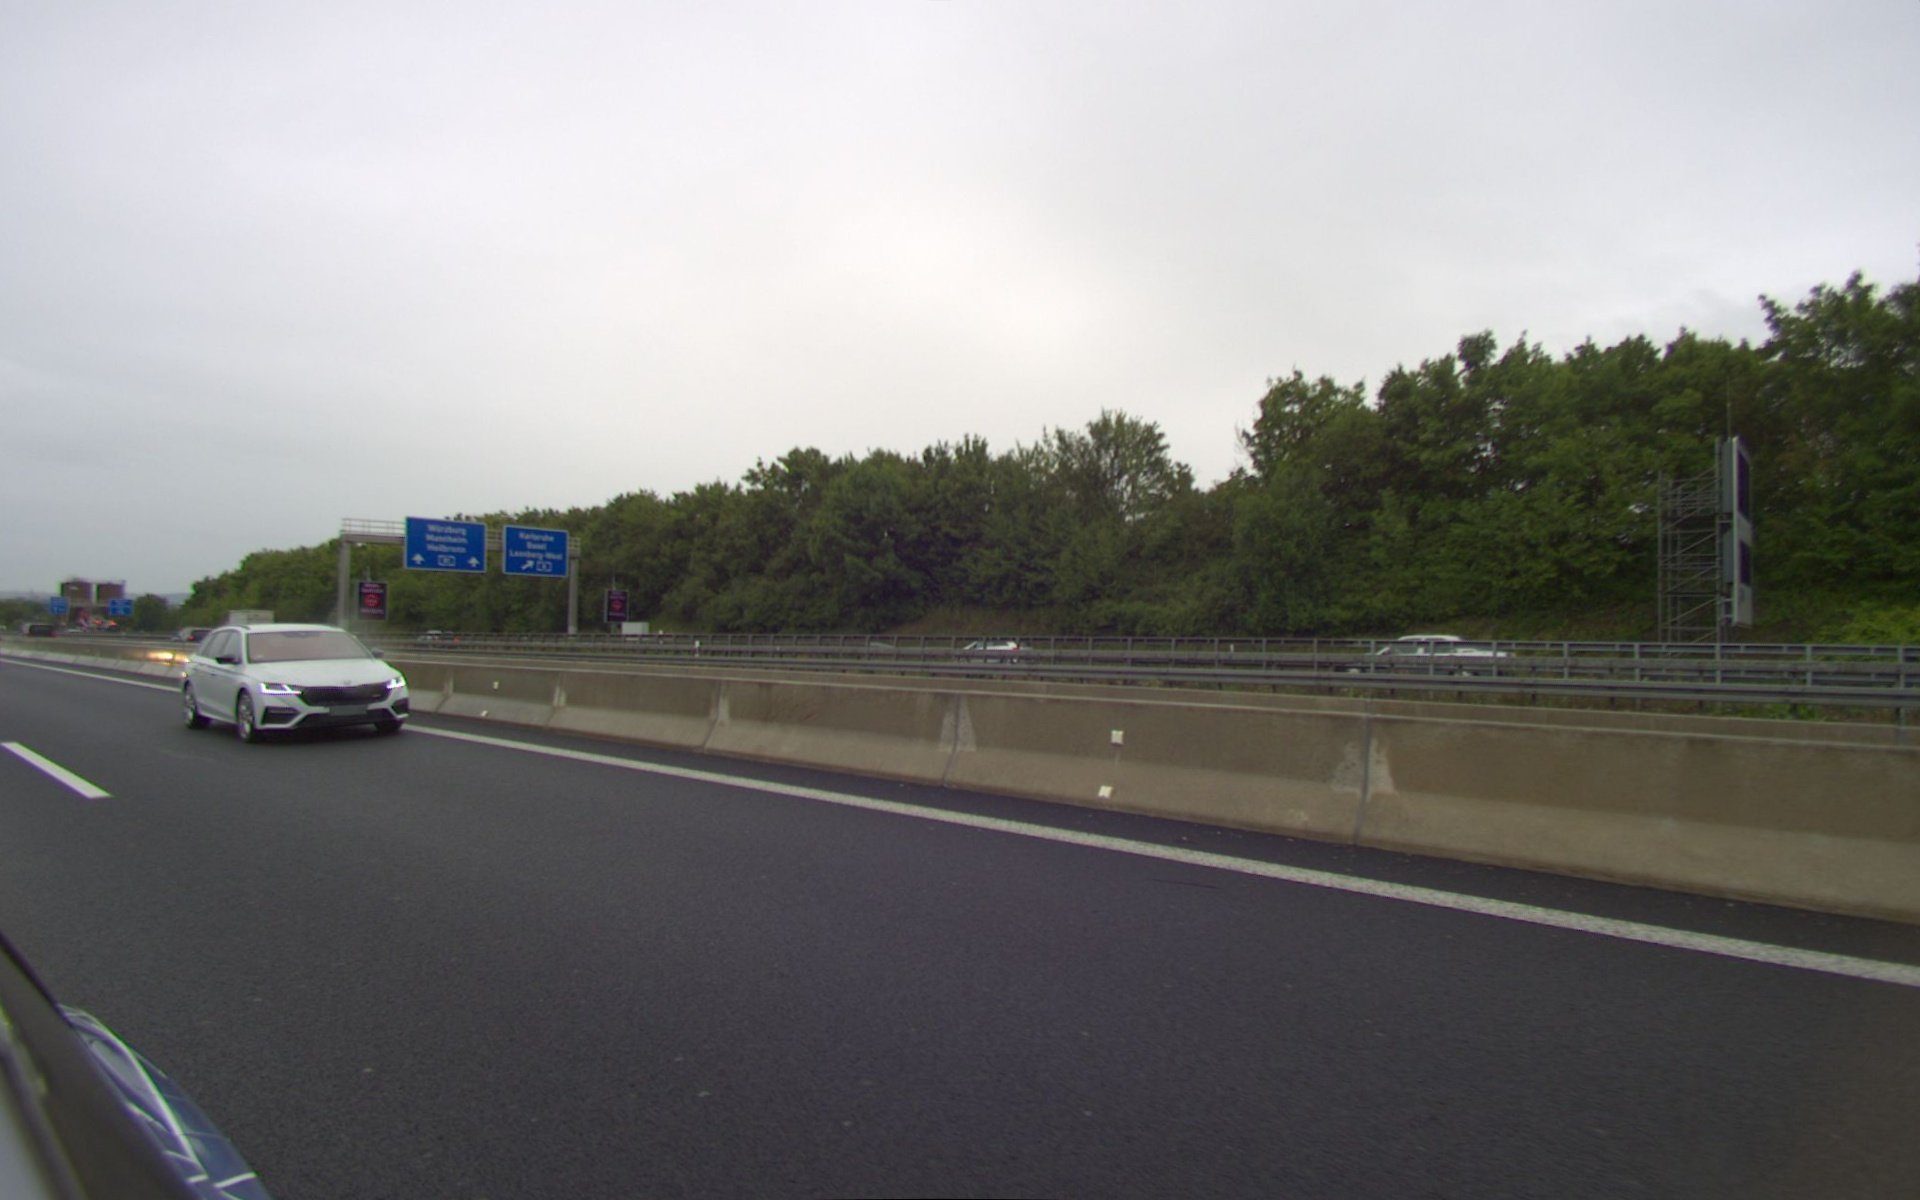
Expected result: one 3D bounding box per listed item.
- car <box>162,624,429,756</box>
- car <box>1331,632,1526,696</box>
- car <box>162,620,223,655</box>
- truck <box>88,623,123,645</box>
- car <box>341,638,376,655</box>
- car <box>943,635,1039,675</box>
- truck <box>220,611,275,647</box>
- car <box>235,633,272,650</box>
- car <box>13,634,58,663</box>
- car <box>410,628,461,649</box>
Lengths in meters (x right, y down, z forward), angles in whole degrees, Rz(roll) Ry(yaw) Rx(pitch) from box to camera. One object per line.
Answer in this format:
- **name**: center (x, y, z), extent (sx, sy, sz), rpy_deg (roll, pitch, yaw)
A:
- **car**: center (-9.177, 1.080, 13.796), extent (4.774, 1.467, 1.800), rpy_deg (-1, -1, 41)
- **car**: center (12.047, 1.589, 26.149), extent (4.265, 1.467, 1.800), rpy_deg (-1, -1, 40)
- **car**: center (-46.836, 2.273, 61.720), extent (4.979, 2.029, 1.973), rpy_deg (-1, -1, 41)
- **truck**: center (-132.698, 5.297, 157.107), extent (9.074, 3.245, 2.821), rpy_deg (-1, -1, 41)
- **car**: center (-56.881, 4.378, 95.674), extent (3.998, 1.467, 1.658), rpy_deg (-1, -1, 41)
- **car**: center (1.376, 2.408, 45.320), extent (4.055, 1.644, 1.800), rpy_deg (-1, -1, 40)
- **truck**: center (-82.785, 3.319, 117.462), extent (9.630, 3.908, 3.042), rpy_deg (-1, -1, 41)
- **car**: center (-65.036, 3.835, 93.119), extent (4.630, 1.467, 1.658), rpy_deg (-1, -1, 41)
- **car**: center (-70.885, 3.669, 77.542), extent (4.979, 2.029, 1.973), rpy_deg (-1, -1, 41)
- **car**: center (-39.415, 2.886, 76.029), extent (4.471, 1.504, 1.800), rpy_deg (-1, -1, 40)
